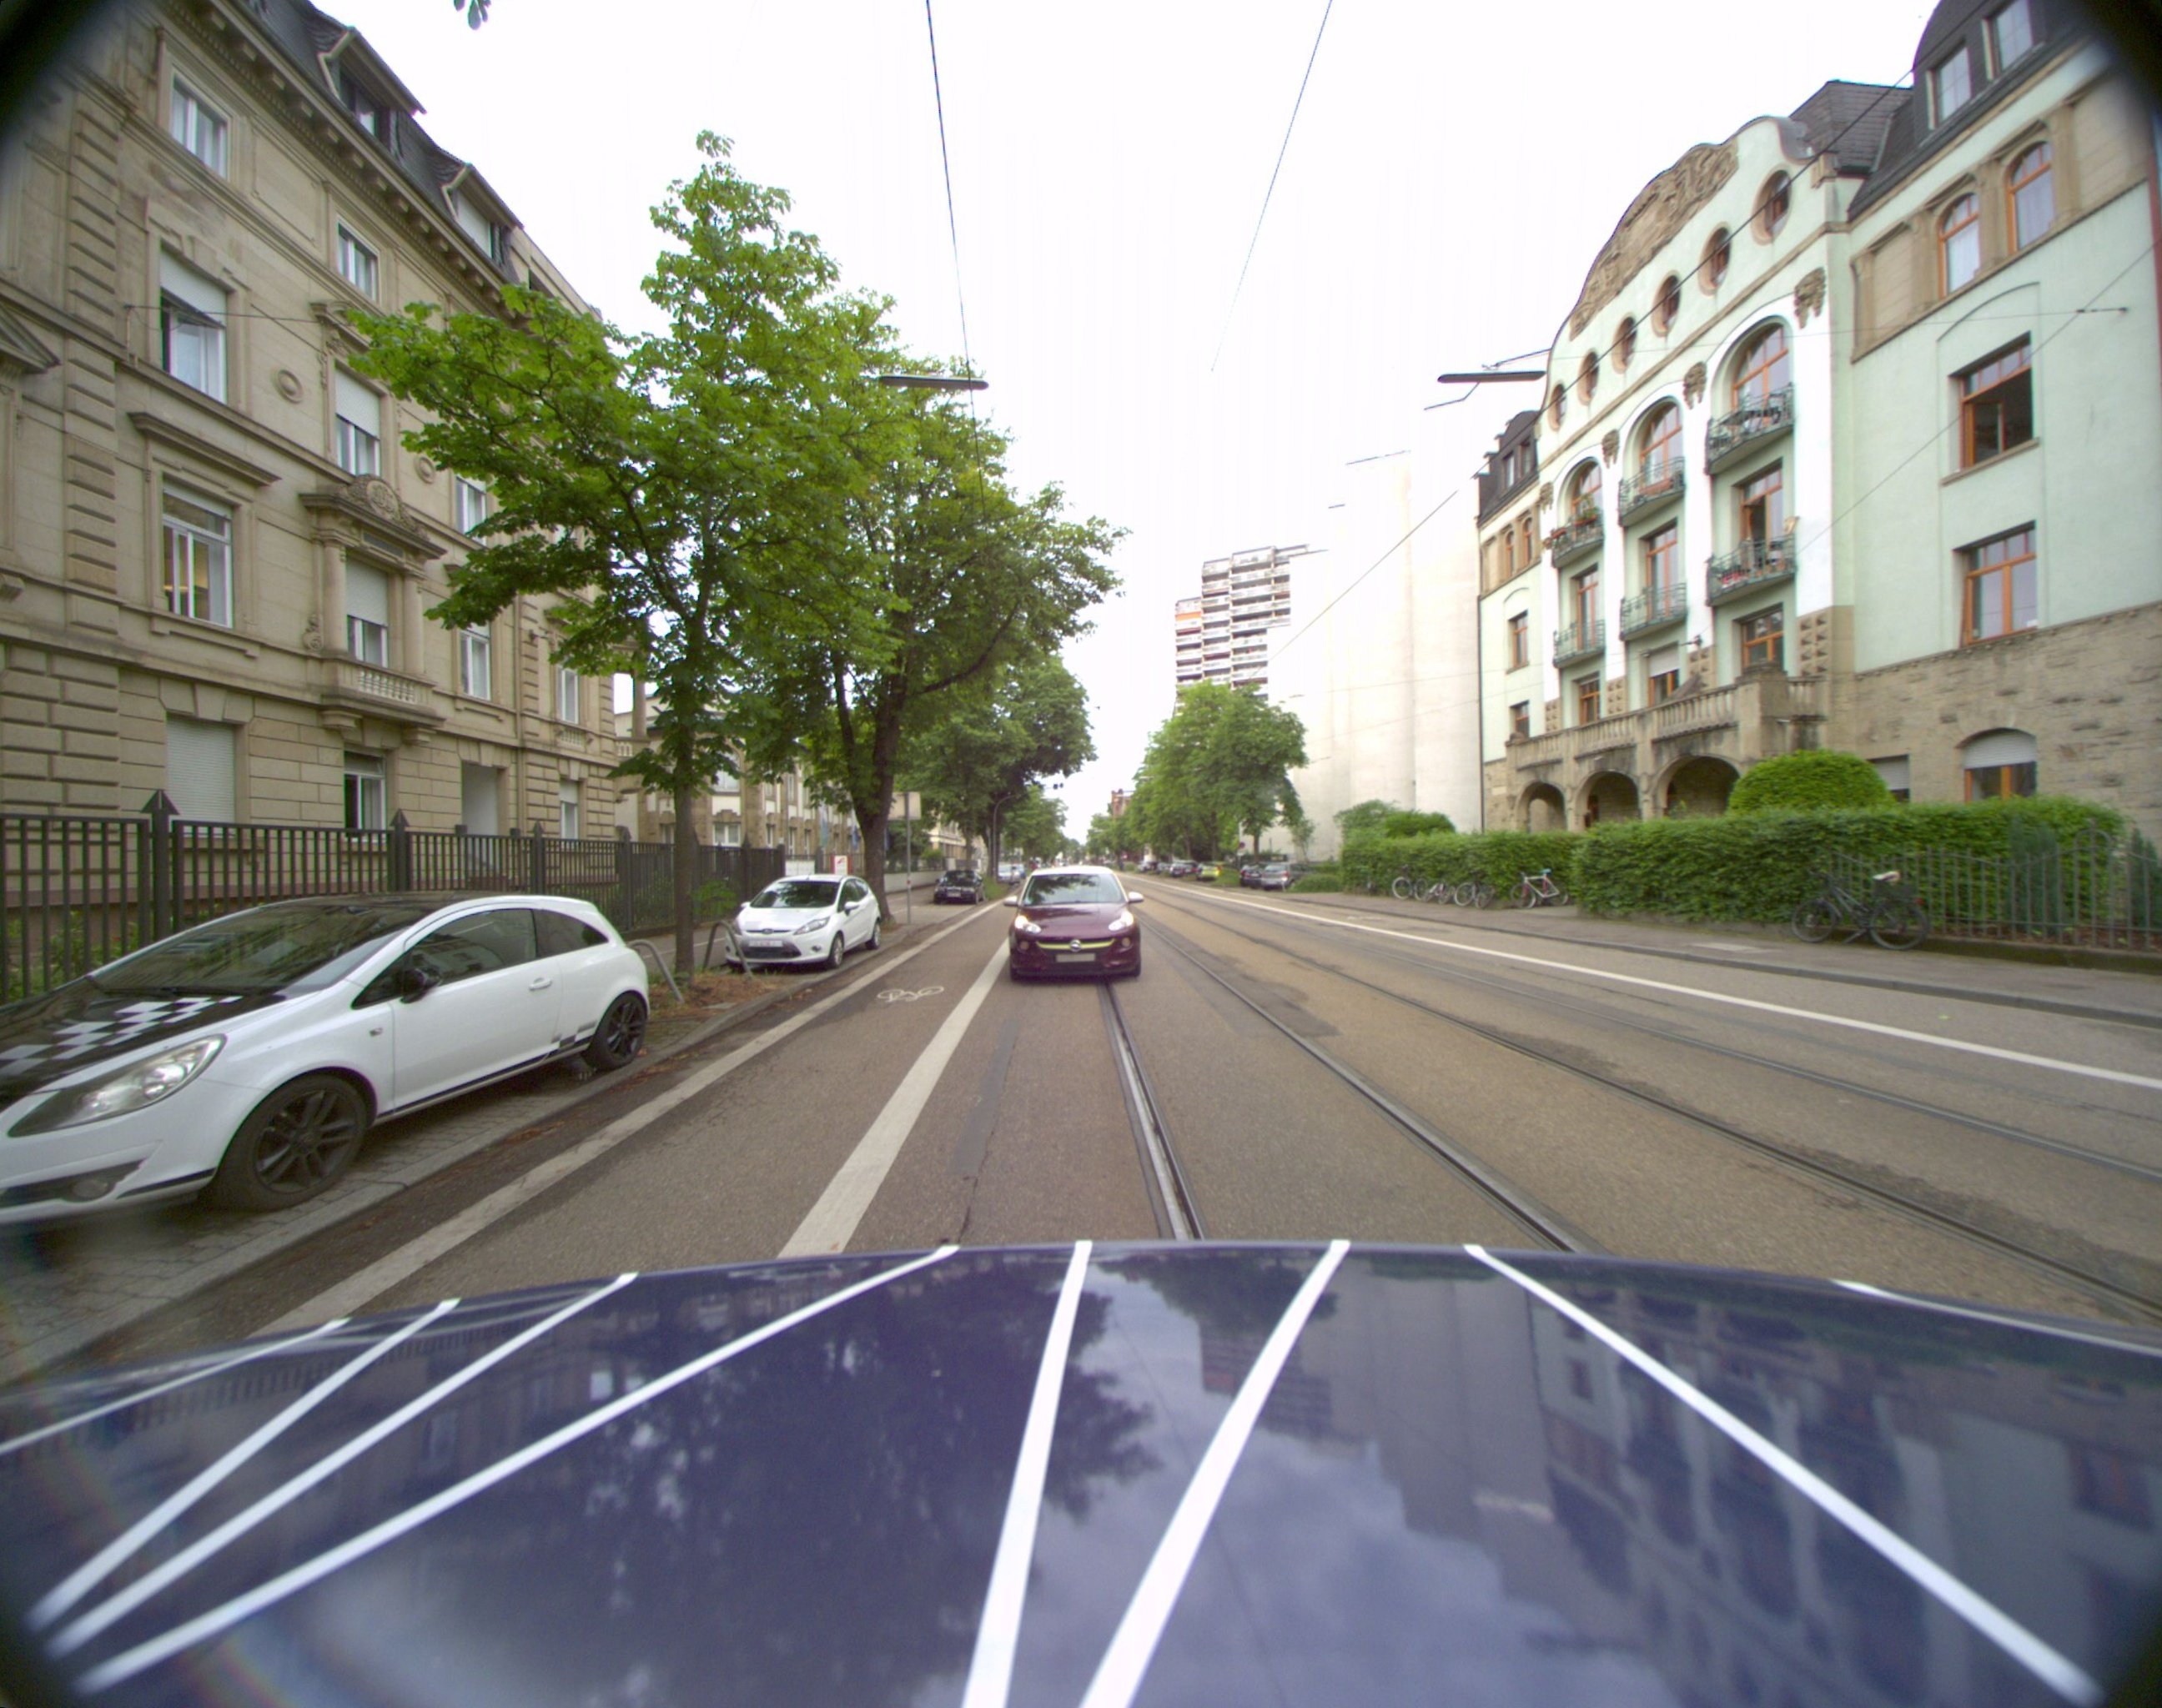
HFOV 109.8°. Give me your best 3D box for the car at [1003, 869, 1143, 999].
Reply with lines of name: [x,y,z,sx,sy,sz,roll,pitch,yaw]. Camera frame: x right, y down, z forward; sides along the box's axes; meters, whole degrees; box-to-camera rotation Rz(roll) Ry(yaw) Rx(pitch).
car: [-0.091,0.996,10.979,1.606,1.427,3.776,-3,0,0]

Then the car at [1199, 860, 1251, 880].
car: [10.354,1.125,54.463,4.008,1.386,1.690,-1,0,-44]

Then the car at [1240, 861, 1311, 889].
car: [10.569,1.119,41.126,4.008,1.395,1.691,-1,0,-41]

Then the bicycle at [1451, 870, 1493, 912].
bicycle: [10.875,1.012,21.170,0.360,1.077,1.546,-1,0,-1]

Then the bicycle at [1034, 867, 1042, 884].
bicycle: [-3.043,1.501,53.888,0.414,1.197,1.707,-1,0,0]

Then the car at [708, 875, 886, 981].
car: [-4.614,1.132,12.923,1.631,1.427,3.764,1,0,-1]

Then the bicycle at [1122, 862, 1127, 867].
bicycle: [6.309,1.562,111.426,0.568,0.784,1.890,-1,0,-1]

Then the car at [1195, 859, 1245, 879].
car: [10.524,1.115,57.516,4.008,1.434,1.690,-1,0,-44]

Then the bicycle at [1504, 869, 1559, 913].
bicycle: [11.759,0.964,19.856,1.205,1.077,0.300,-3,0,1]

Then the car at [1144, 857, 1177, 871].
car: [9.480,1.213,90.474,4.008,1.611,1.690,-1,0,-44]

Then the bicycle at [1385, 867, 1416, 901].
bicycle: [10.778,1.005,25.684,0.360,1.077,1.546,-1,0,-1]

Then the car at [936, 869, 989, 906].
car: [-4.841,1.332,31.505,1.606,1.362,3.836,1,0,-1]

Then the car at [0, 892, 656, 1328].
car: [-4.508,1.047,4.711,1.606,1.427,3.776,1,0,0]

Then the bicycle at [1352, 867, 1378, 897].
bicycle: [10.728,1.043,28.757,0.360,1.077,1.546,-1,0,-1]

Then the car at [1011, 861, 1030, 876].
car: [-5.826,1.391,73.718,1.606,1.362,3.836,1,0,-1]

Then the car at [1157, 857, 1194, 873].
car: [10.054,1.176,80.650,4.008,1.611,1.690,-1,0,-44]

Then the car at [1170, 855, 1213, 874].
car: [9.801,0.948,67.228,4.008,1.611,1.690,-1,0,-44]

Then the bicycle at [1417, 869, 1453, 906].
bicycle: [10.765,1.006,23.135,0.360,1.077,1.546,-1,0,-1]

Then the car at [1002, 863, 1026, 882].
car: [-5.370,1.446,61.295,1.606,1.416,3.836,1,0,-1]

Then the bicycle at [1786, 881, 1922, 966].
bicycle: [11.024,0.956,10.907,0.360,1.077,1.546,-1,0,-1]

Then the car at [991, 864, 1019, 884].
car: [-5.366,1.404,53.952,1.606,1.362,3.836,1,0,-1]

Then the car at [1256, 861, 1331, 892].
car: [10.741,1.090,38.240,4.008,1.395,1.691,-1,0,-41]

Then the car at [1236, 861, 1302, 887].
car: [11.002,1.121,44.300,4.008,1.395,1.691,-1,0,-41]

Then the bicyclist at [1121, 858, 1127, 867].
bicyclist: [6.330,1.211,111.535,0.752,1.247,0.875,-1,0,-3]

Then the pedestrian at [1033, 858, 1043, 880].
pedestrian: [-3.054,1.070,53.859,0.684,1.541,0.704,-1,0,0]
